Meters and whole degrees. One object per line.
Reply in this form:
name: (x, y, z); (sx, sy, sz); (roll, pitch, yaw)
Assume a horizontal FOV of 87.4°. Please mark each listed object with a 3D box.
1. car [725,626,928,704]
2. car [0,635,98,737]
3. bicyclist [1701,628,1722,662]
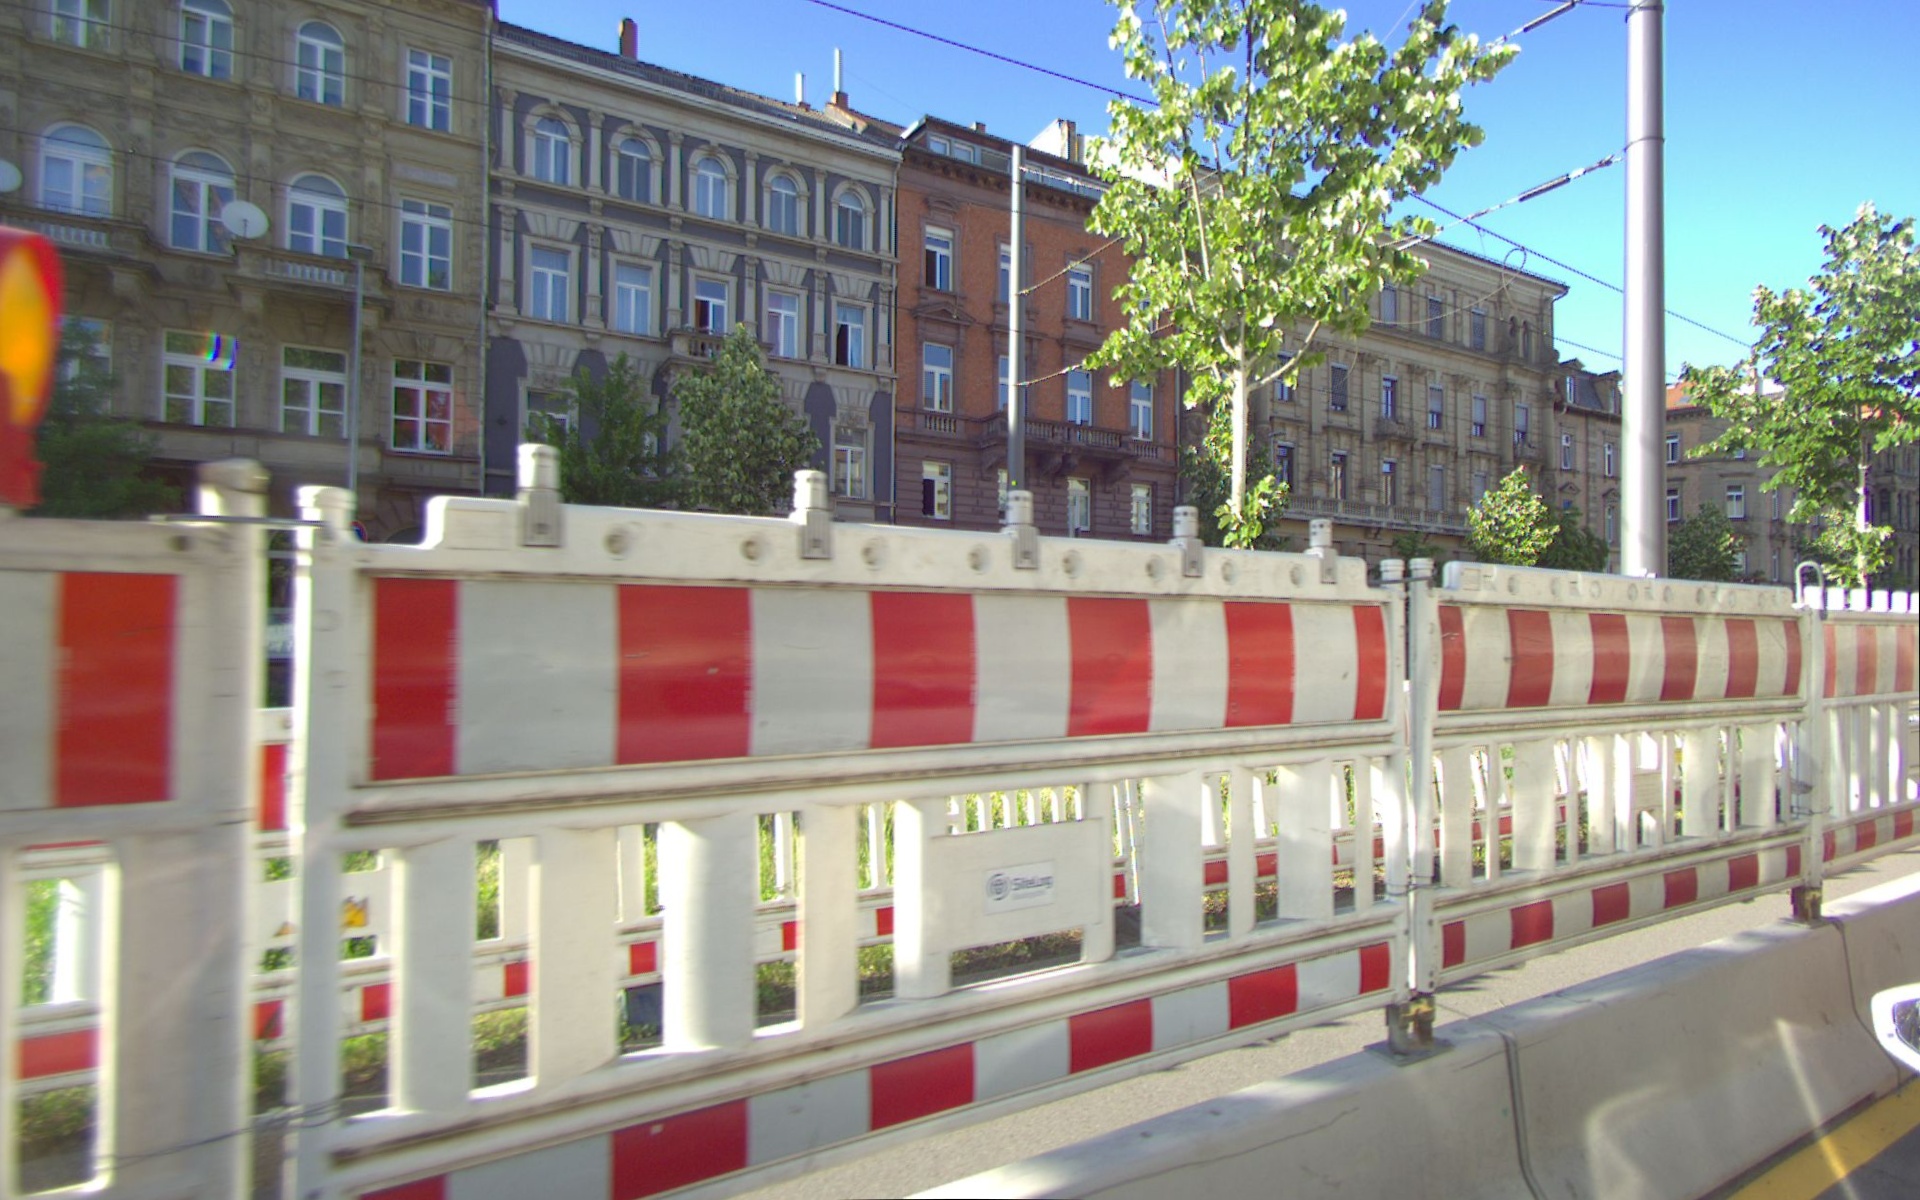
car: (-3.224, 1.553, 24.456); (4.489, 1.680, 1.930); (2, 0, -29)
car: (-16.257, 1.297, 15.426); (4.260, 1.457, 1.983); (2, 0, -31)
bicyclist: (40.132, 2.391, 53.644); (0.870, 1.797, 0.854); (0, -2, 34)
